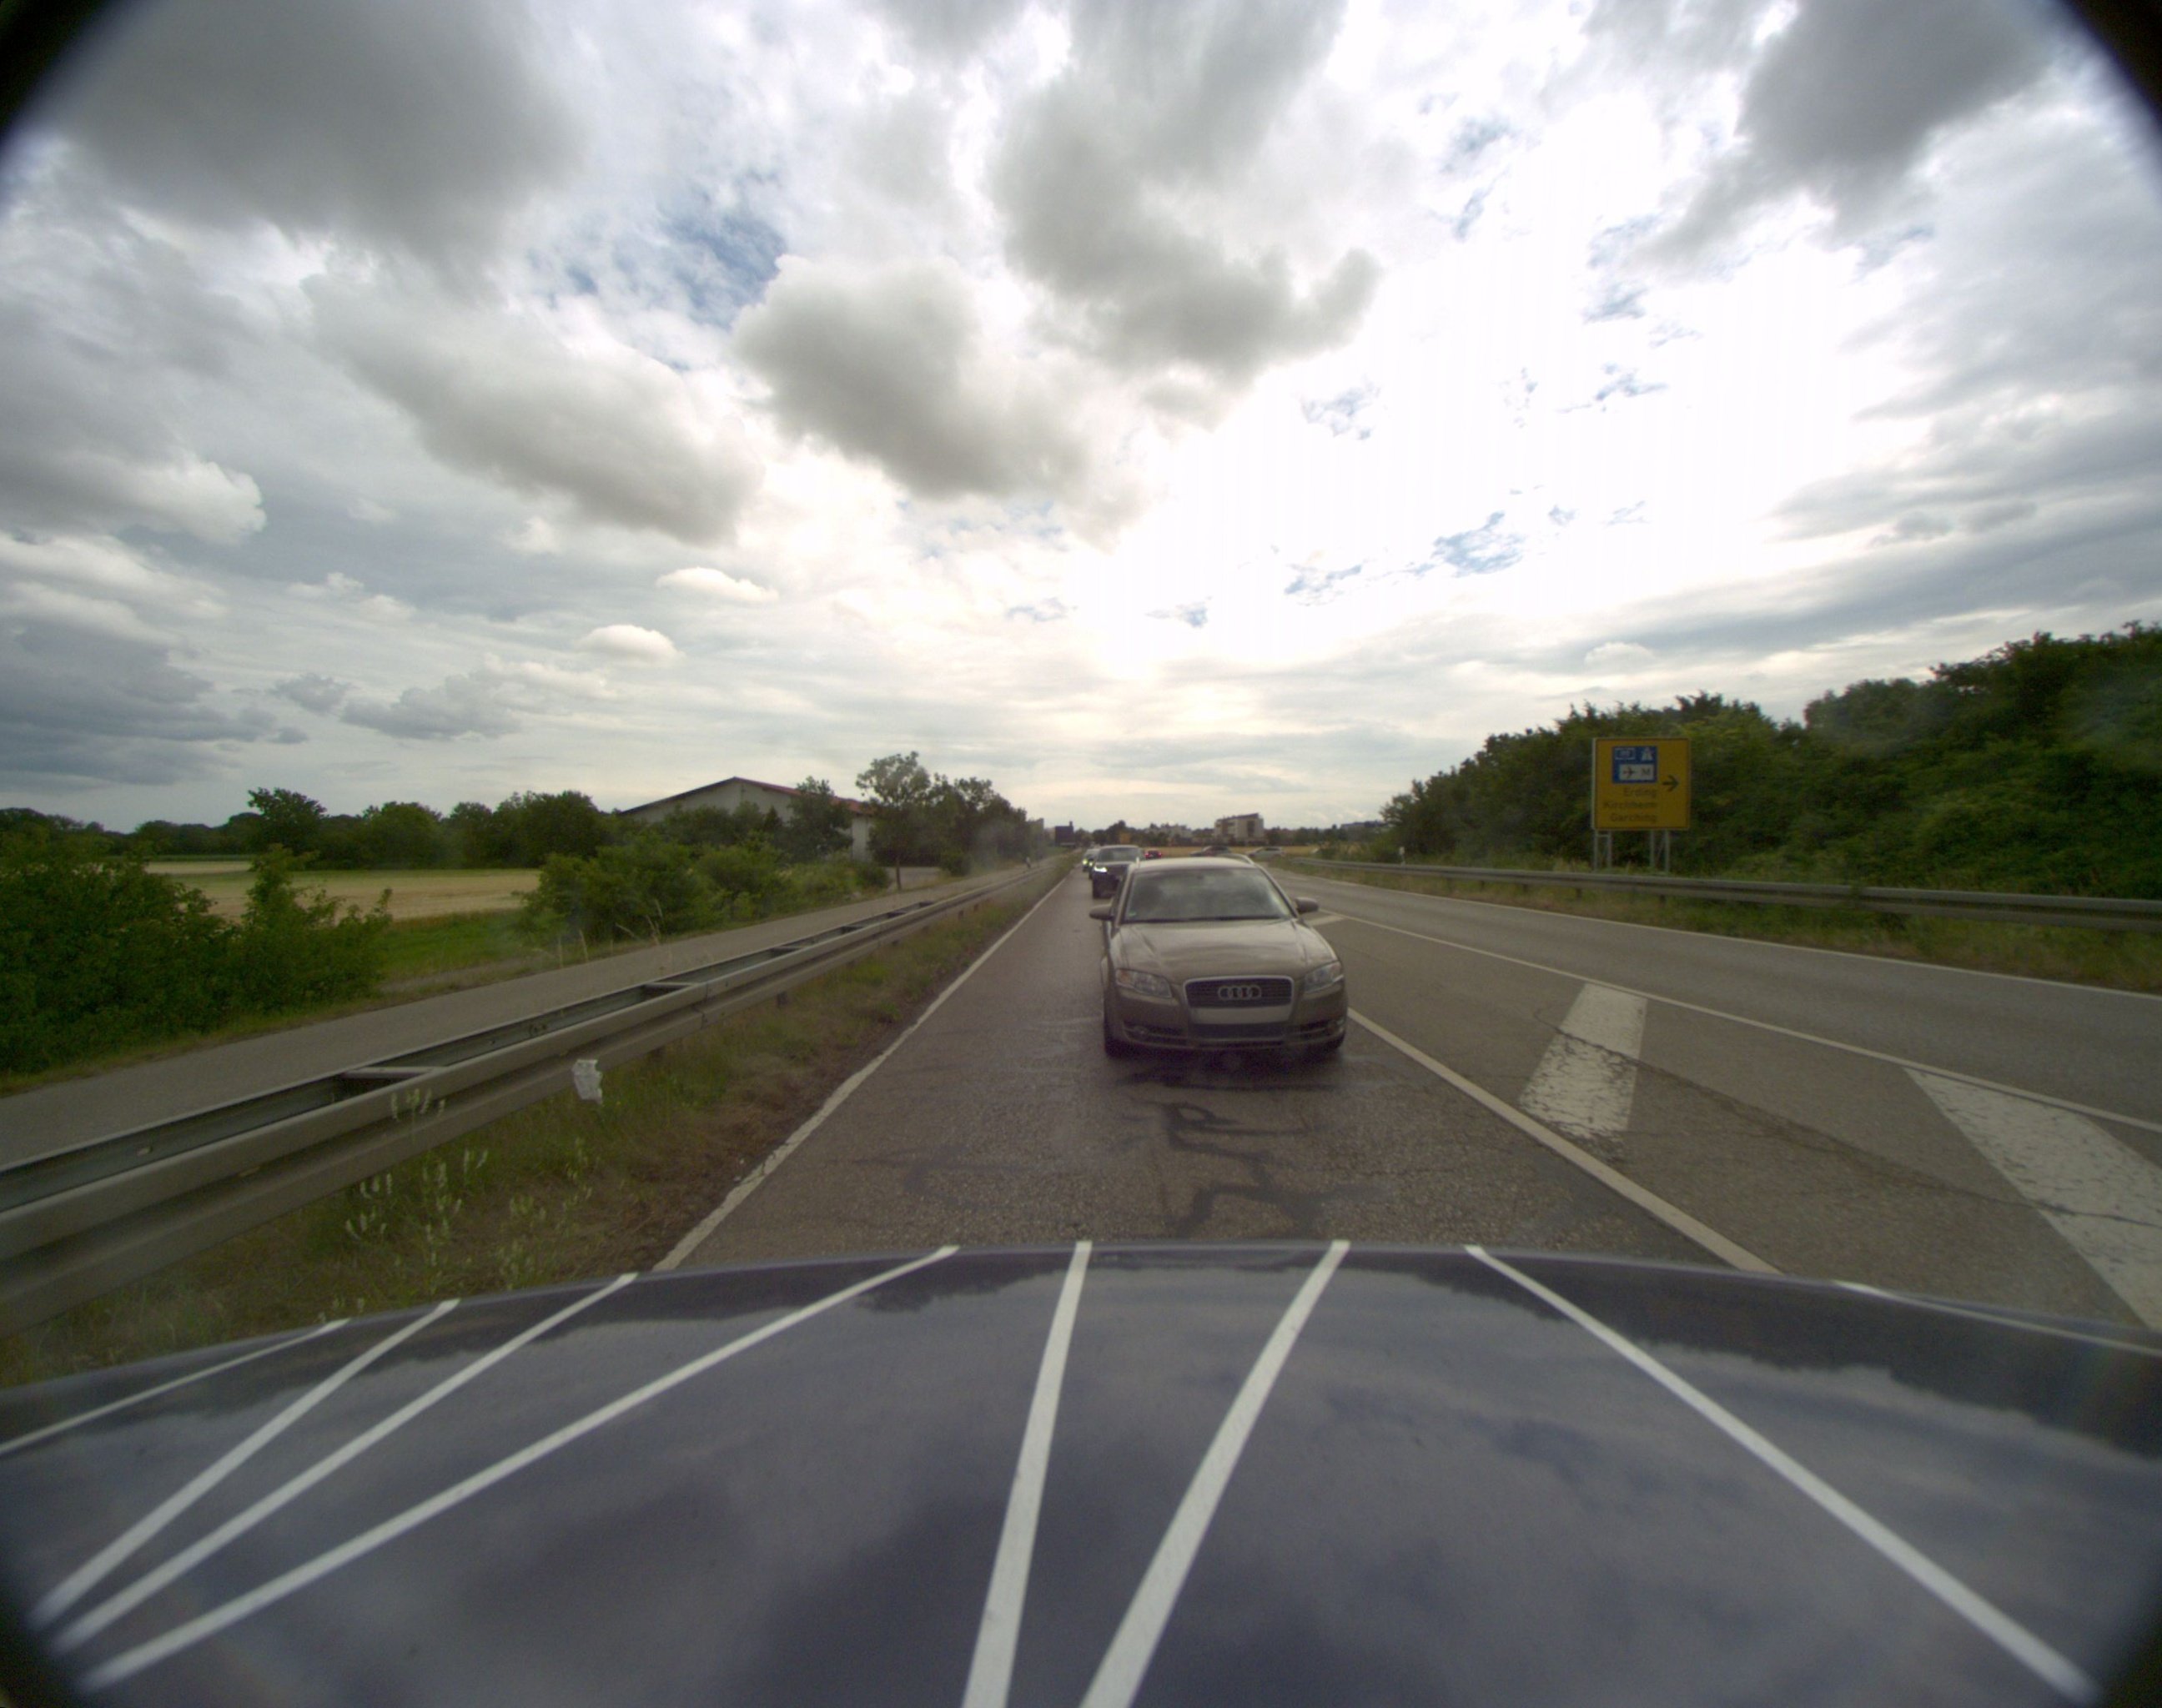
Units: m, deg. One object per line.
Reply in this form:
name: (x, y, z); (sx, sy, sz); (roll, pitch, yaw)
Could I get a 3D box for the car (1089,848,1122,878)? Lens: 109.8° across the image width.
car: (1.320, 0.472, 42.278); (1.730, 1.478, 4.204); (-2, 1, 1)

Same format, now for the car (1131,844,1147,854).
car: (8.908, -0.723, 117.018); (1.999, 1.481, 3.837); (-1, 1, -3)

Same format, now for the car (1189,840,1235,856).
car: (14.899, -0.722, 86.785); (4.815, 1.680, 1.999); (-1, 1, -3)

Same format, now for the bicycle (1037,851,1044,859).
bicycle: (-4.993, 0.097, 93.381); (0.640, 0.973, 2.072); (-1, 1, 1)

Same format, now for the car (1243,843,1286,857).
car: (20.881, -0.512, 86.586); (4.672, 1.490, 2.001); (-1, 1, 11)

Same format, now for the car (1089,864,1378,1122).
car: (0.960, 0.875, 6.712); (1.730, 1.436, 4.204); (-1, 1, 1)

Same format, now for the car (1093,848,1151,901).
car: (1.287, 0.617, 25.555); (1.730, 1.534, 4.204); (-2, 1, 1)

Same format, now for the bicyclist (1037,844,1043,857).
bicyclist: (-5.001, -0.445, 93.349); (0.640, 1.573, 0.969); (-1, 1, 1)

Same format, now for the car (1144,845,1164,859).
car: (8.026, -0.275, 83.616); (1.804, 1.442, 4.445); (-1, 1, 0)

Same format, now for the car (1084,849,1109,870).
car: (1.135, 0.360, 56.743); (1.730, 1.436, 4.204); (-2, 1, 1)
